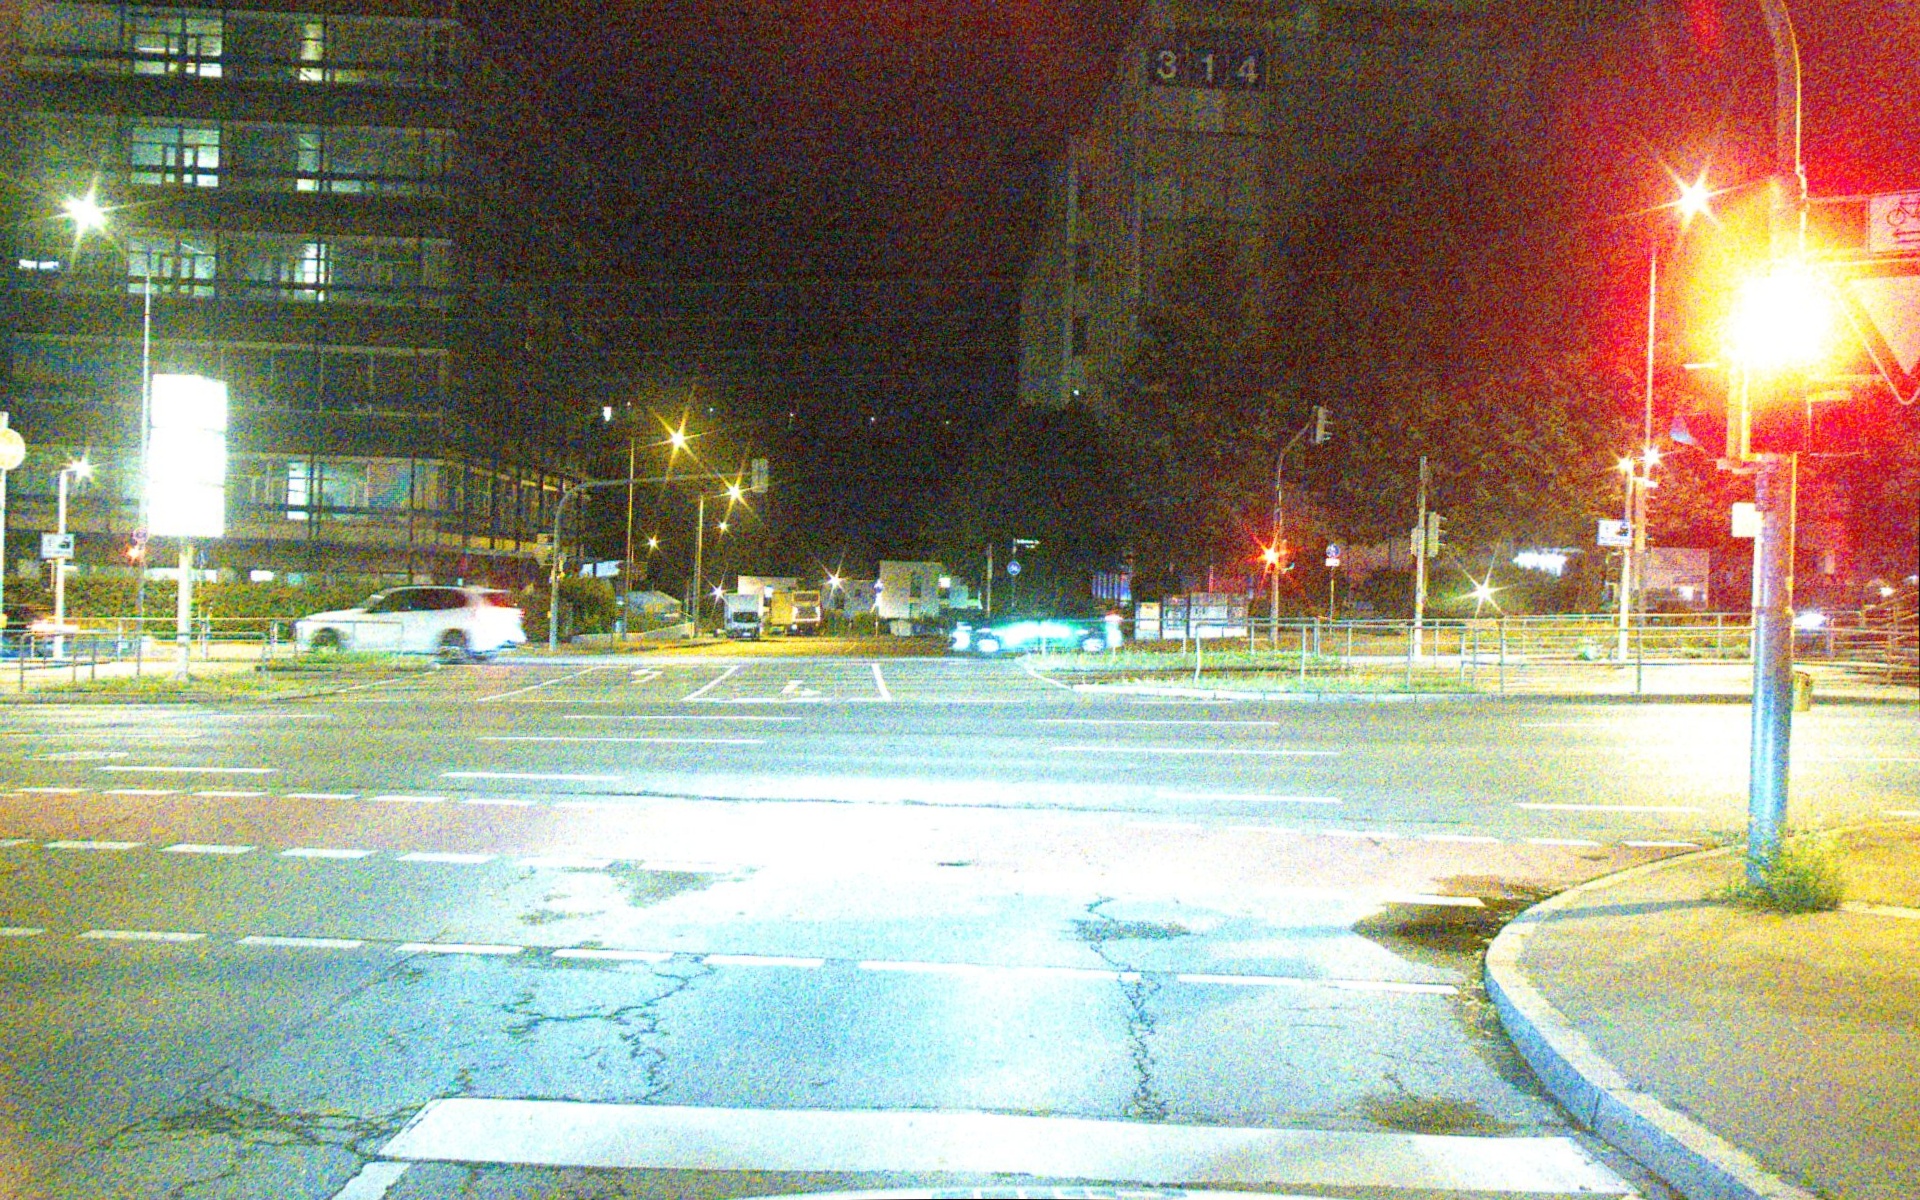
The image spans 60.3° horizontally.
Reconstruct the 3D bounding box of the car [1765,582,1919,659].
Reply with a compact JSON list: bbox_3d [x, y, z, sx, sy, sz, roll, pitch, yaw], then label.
[{"bbox_3d":[20.064,0.431,36.317,3.902,1.612,1.805,-1,0,6],"label":"car"}]

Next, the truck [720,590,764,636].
[{"bbox_3d":[-15.764,0.955,119.302,2.377,3.143,6.414,2,-1,-14],"label":"truck"}]

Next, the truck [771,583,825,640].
[{"bbox_3d":[-14.618,1.027,148.612,3.307,4.927,7.868,2,-1,-17],"label":"truck"}]

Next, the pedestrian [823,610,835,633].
[{"bbox_3d":[-11.671,1.913,147.440,0.836,1.945,1.001,2,-1,-18],"label":"pedestrian"}]

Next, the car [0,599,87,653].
[{"bbox_3d":[-26.149,0.715,44.632,4.237,1.412,1.843,-1,-1,2],"label":"car"}]

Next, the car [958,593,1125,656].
[{"bbox_3d":[1.977,0.590,40.342,3.976,1.449,1.844,0,2,2],"label":"car"}]

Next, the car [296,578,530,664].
[{"bbox_3d":[-12.457,0.486,37.836,4.680,1.876,1.843,0,-1,2],"label":"car"}]

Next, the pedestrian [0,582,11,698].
[{"bbox_3d":[-14.848,0.594,24.857,0.663,1.752,0.706,1,-1,24],"label":"pedestrian"}]
